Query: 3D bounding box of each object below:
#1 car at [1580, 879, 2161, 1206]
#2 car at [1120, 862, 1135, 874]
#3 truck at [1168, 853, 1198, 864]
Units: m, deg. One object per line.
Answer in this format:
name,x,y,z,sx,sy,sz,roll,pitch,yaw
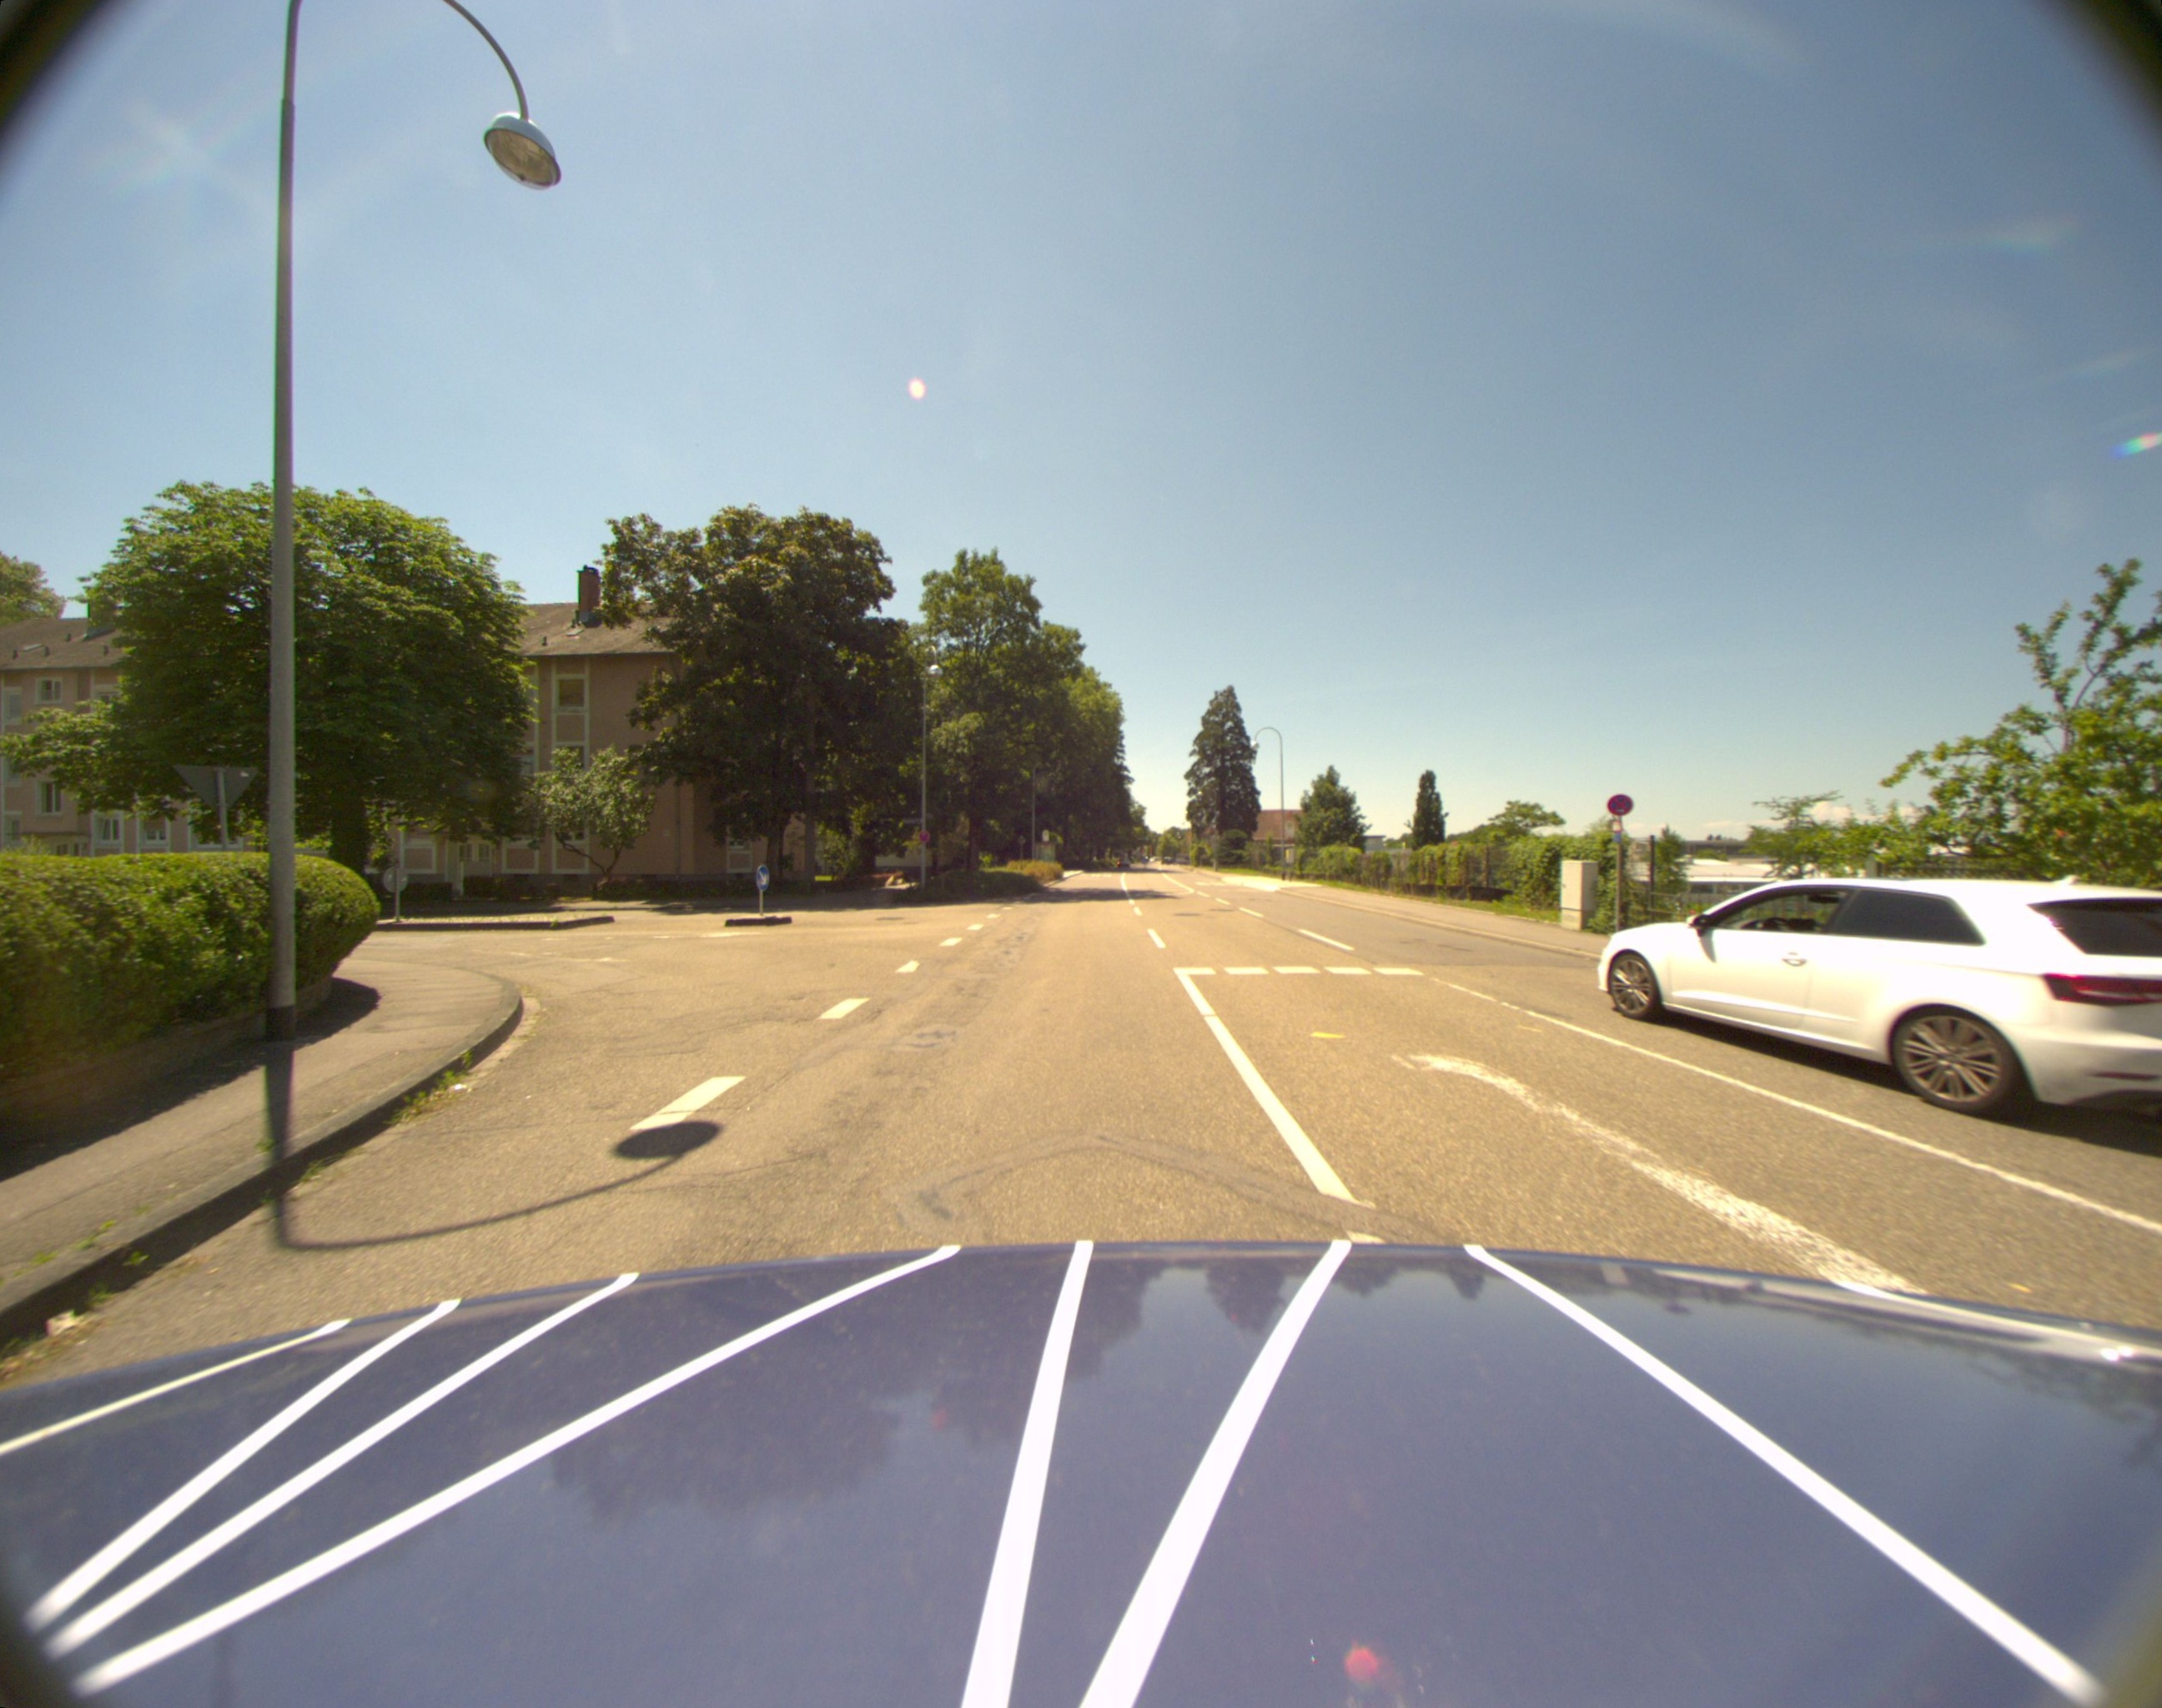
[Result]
car,5.890,0.964,5.579,1.684,1.364,4.206,1,0,1
car,6.787,1.986,110.443,1.883,1.623,4.323,1,0,7
truck,21.066,0.840,156.996,2.629,2.228,6.241,0,0,-32
